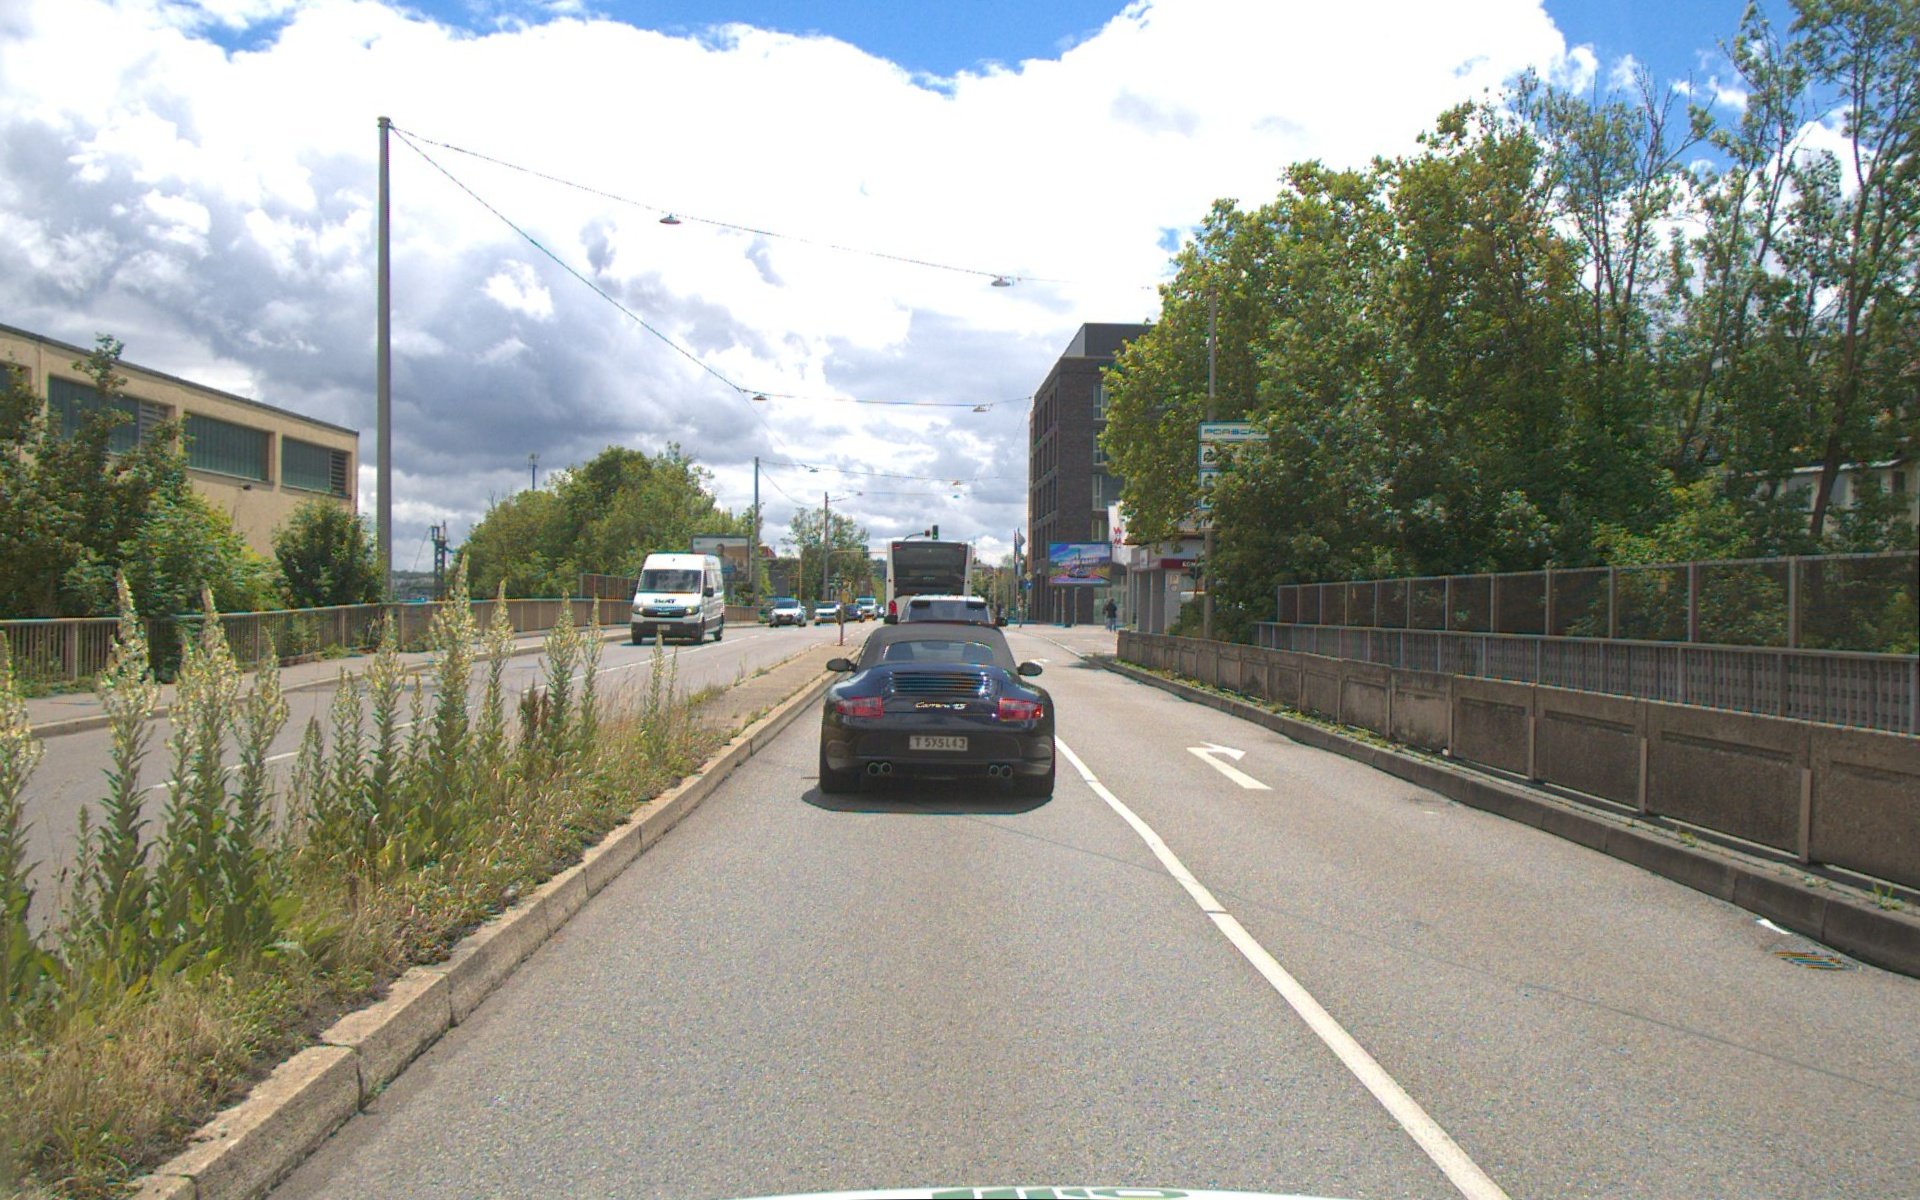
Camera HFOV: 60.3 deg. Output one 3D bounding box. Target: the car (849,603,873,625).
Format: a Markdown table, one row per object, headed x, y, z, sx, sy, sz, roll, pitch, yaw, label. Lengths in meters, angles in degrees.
| x | y | z | sx | sy | sz | roll | pitch | yaw | label |
| --- | --- | --- | --- | --- | --- | --- | --- | --- | --- |
| -8.955 | 1.230 | 150.142 | 1.863 | 1.920 | 5.311 | -1 | 0 | -1 | car |

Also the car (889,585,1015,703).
| x | y | z | sx | sy | sz | roll | pitch | yaw | label |
| --- | --- | --- | --- | --- | --- | --- | --- | --- | --- |
| -0.165 | 0.645 | 26.927 | 1.842 | 1.621 | 4.229 | 2 | 2 | -1 | car |

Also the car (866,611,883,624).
| x | y | z | sx | sy | sz | roll | pitch | yaw | label |
| --- | --- | --- | --- | --- | --- | --- | --- | --- | --- |
| -9.560 | 1.975 | 185.015 | 1.629 | 1.440 | 3.802 | 1 | 0 | -1 | car |

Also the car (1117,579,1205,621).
| x | y | z | sx | sy | sz | roll | pitch | yaw | label |
| --- | --- | --- | --- | --- | --- | --- | --- | --- | --- |
| 10.096 | -0.006 | 83.253 | 4.144 | 1.970 | 2.029 | -2 | -1 | 0 | car |

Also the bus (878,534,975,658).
| x | y | z | sx | sy | sz | roll | pitch | yaw | label |
| --- | --- | --- | --- | --- | --- | --- | --- | --- | --- |
| -0.963 | -0.350 | 53.202 | 2.634 | 3.311 | 12.060 | 2 | 3 | 0 | bus |

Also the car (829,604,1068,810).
| x | y | z | sx | sy | sz | roll | pitch | yaw | label |
| --- | --- | --- | --- | --- | --- | --- | --- | --- | --- |
| -0.171 | 0.776 | 13.945 | 1.685 | 1.297 | 4.086 | 2 | 2 | -3 | car |

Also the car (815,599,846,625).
| x | y | z | sx | sy | sz | roll | pitch | yaw | label |
| --- | --- | --- | --- | --- | --- | --- | --- | --- | --- |
| -8.419 | 0.785 | 107.964 | 1.773 | 1.587 | 4.206 | 1 | 0 | -2 | car |

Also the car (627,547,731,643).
| x | y | z | sx | sy | sz | roll | pitch | yaw | label |
| --- | --- | --- | --- | --- | --- | --- | --- | --- | --- |
| -8.172 | -0.138 | 48.739 | 2.025 | 2.616 | 6.820 | -1 | 0 | -1 | car |

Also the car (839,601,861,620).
| x | y | z | sx | sy | sz | roll | pitch | yaw | label |
| --- | --- | --- | --- | --- | --- | --- | --- | --- | --- |
| -8.746 | 0.867 | 131.735 | 1.595 | 1.455 | 3.999 | 1 | 0 | -1 | car |

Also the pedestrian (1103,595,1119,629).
| x | y | z | sx | sy | sz | roll | pitch | yaw | label |
| --- | --- | --- | --- | --- | --- | --- | --- | --- | --- |
| 7.751 | 0.614 | 84.823 | 0.666 | 1.726 | 0.598 | 1 | -1 | 24 | pedestrian |

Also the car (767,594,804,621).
| x | y | z | sx | sy | sz | roll | pitch | yaw | label |
| --- | --- | --- | --- | --- | --- | --- | --- | --- | --- |
| -9.340 | 0.382 | 88.691 | 1.603 | 1.387 | 4.193 | 0 | 0 | -1 | car |
